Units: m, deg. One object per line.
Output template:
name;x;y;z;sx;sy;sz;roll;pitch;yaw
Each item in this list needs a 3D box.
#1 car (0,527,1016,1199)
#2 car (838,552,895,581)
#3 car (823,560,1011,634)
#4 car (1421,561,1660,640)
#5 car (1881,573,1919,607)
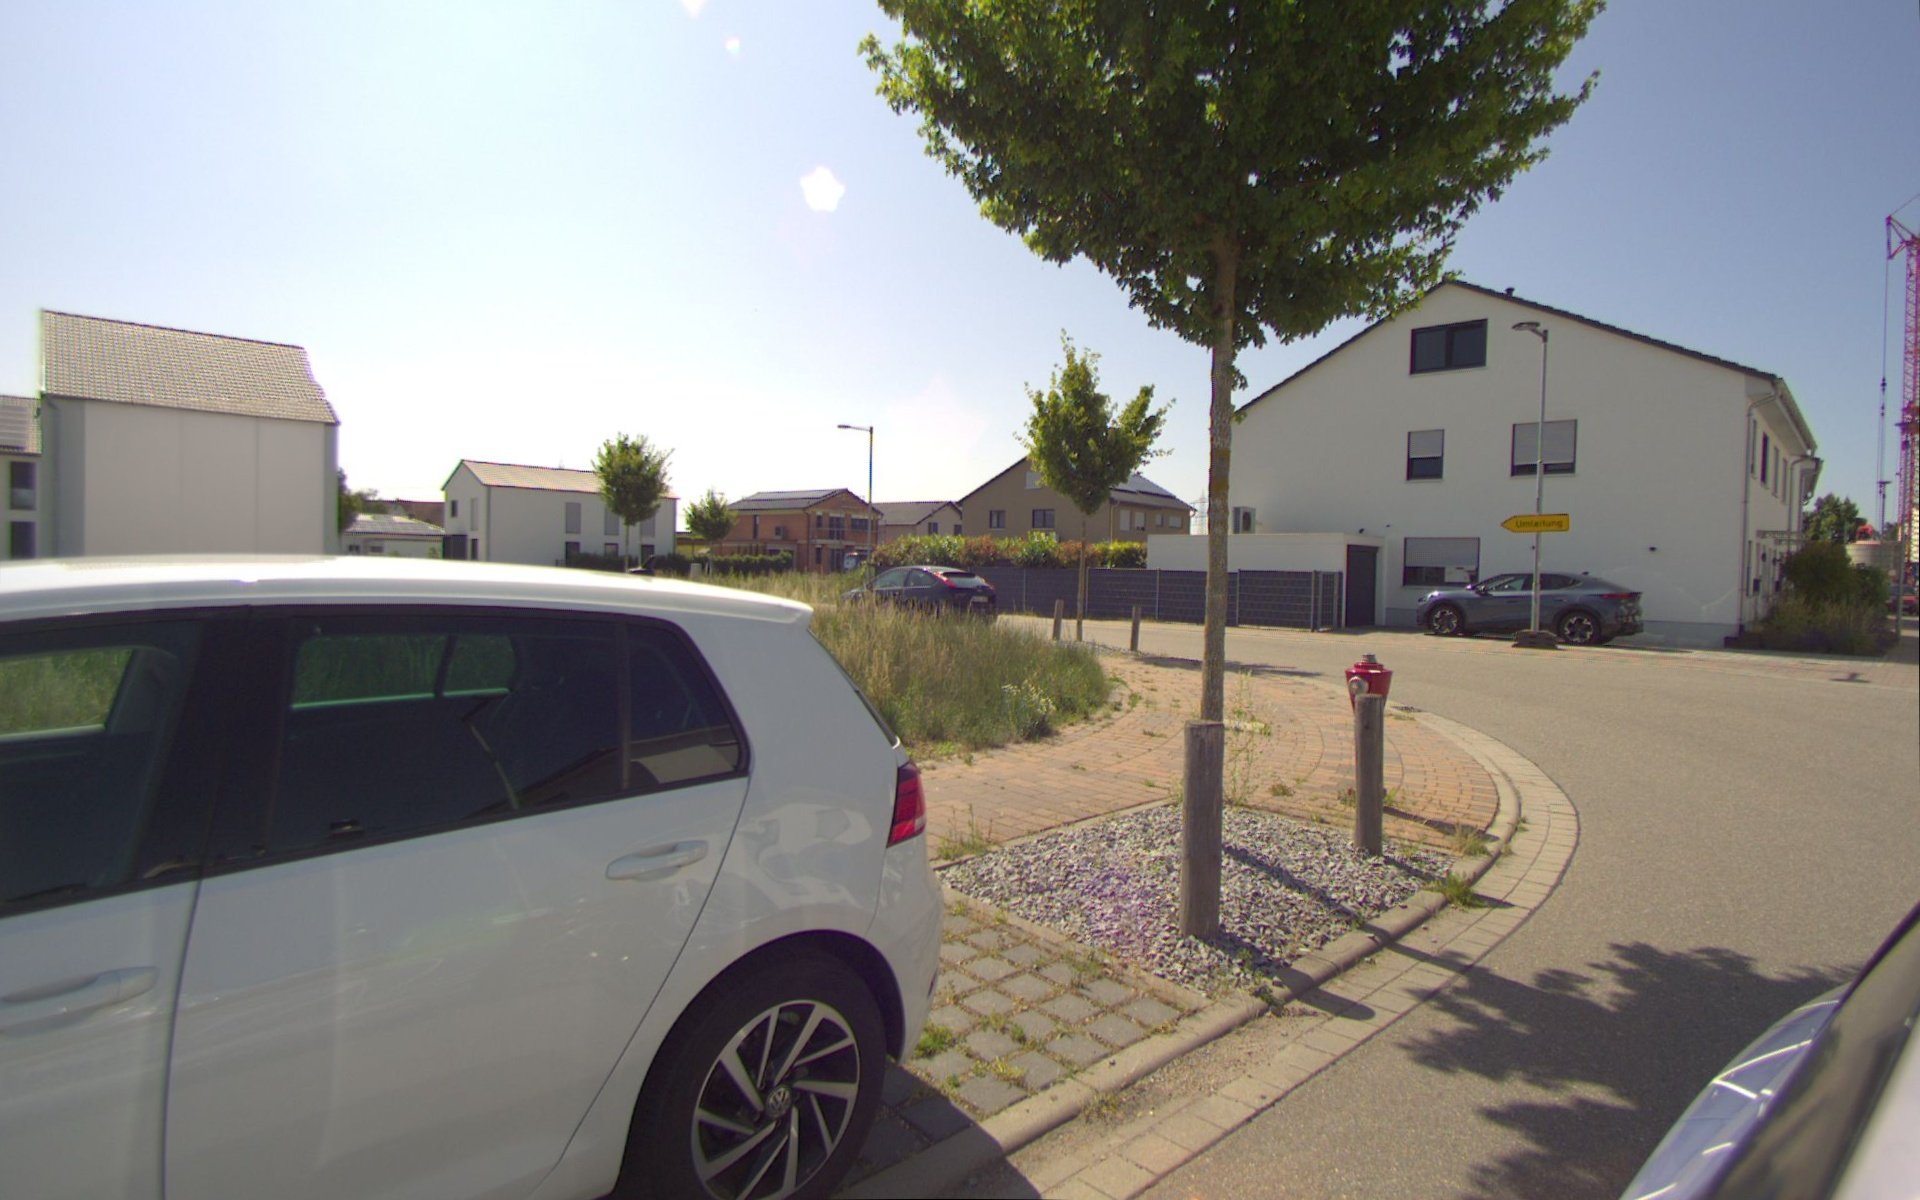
car;-1.981;0.591;1.893;4.095;1.437;1.778;0;4;-43
car;-6.937;-2.483;75.371;1.990;2.038;3.945;3;3;38
car;-1.041;-0.140;22.892;4.176;1.512;1.823;2;3;41
car;13.074;-0.051;22.993;1.928;1.577;4.340;0;2;-44
car;49.051;-0.517;52.256;1.793;1.637;3.629;2;3;36
